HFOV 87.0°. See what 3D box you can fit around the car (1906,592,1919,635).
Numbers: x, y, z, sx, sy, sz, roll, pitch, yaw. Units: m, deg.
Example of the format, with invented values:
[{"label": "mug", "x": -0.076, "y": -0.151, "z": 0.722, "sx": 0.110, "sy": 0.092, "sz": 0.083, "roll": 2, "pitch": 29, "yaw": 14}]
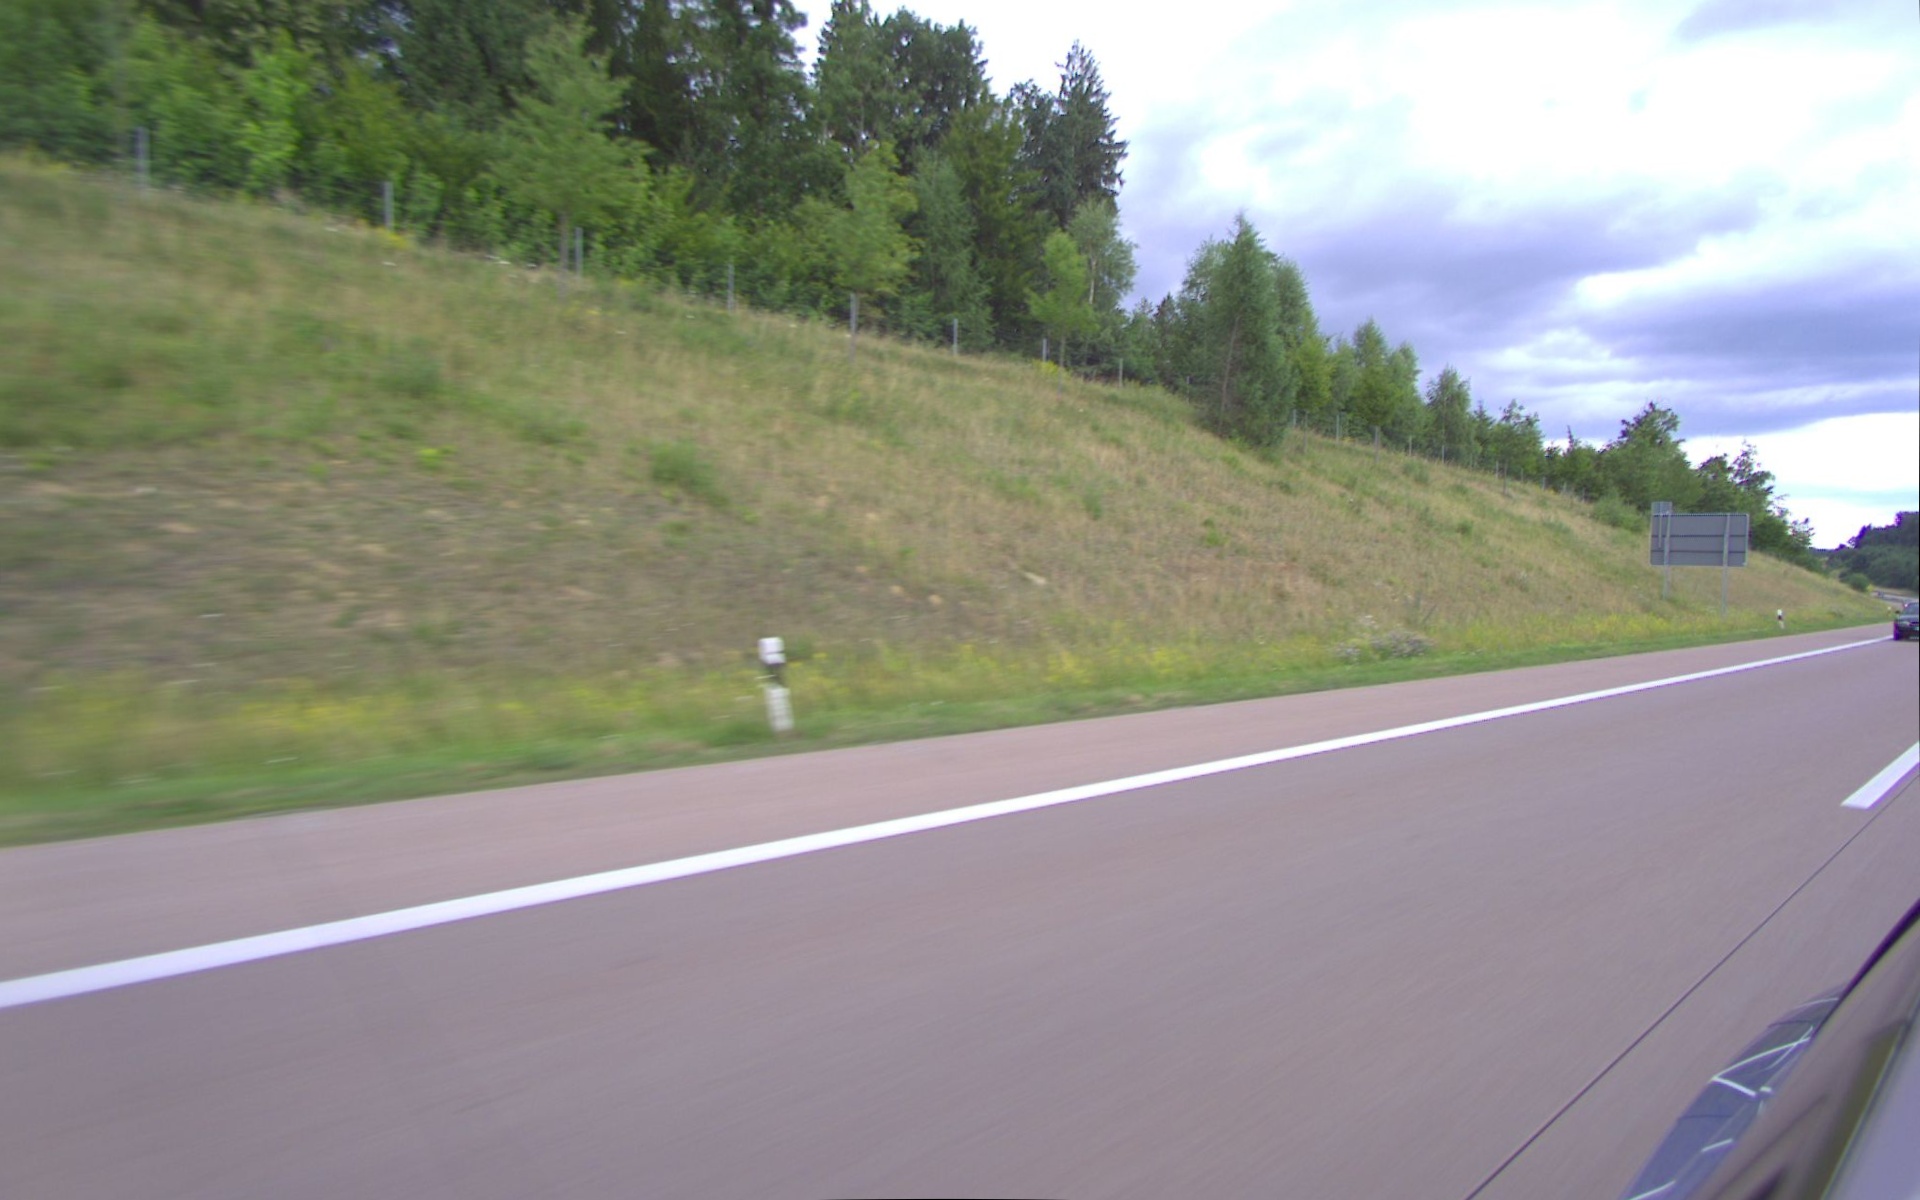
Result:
[{"label": "car", "x": 34.862, "y": 0.472, "z": 35.783, "sx": 4.161, "sy": 1.420, "sz": 1.674, "roll": -2, "pitch": 2, "yaw": -42}]
